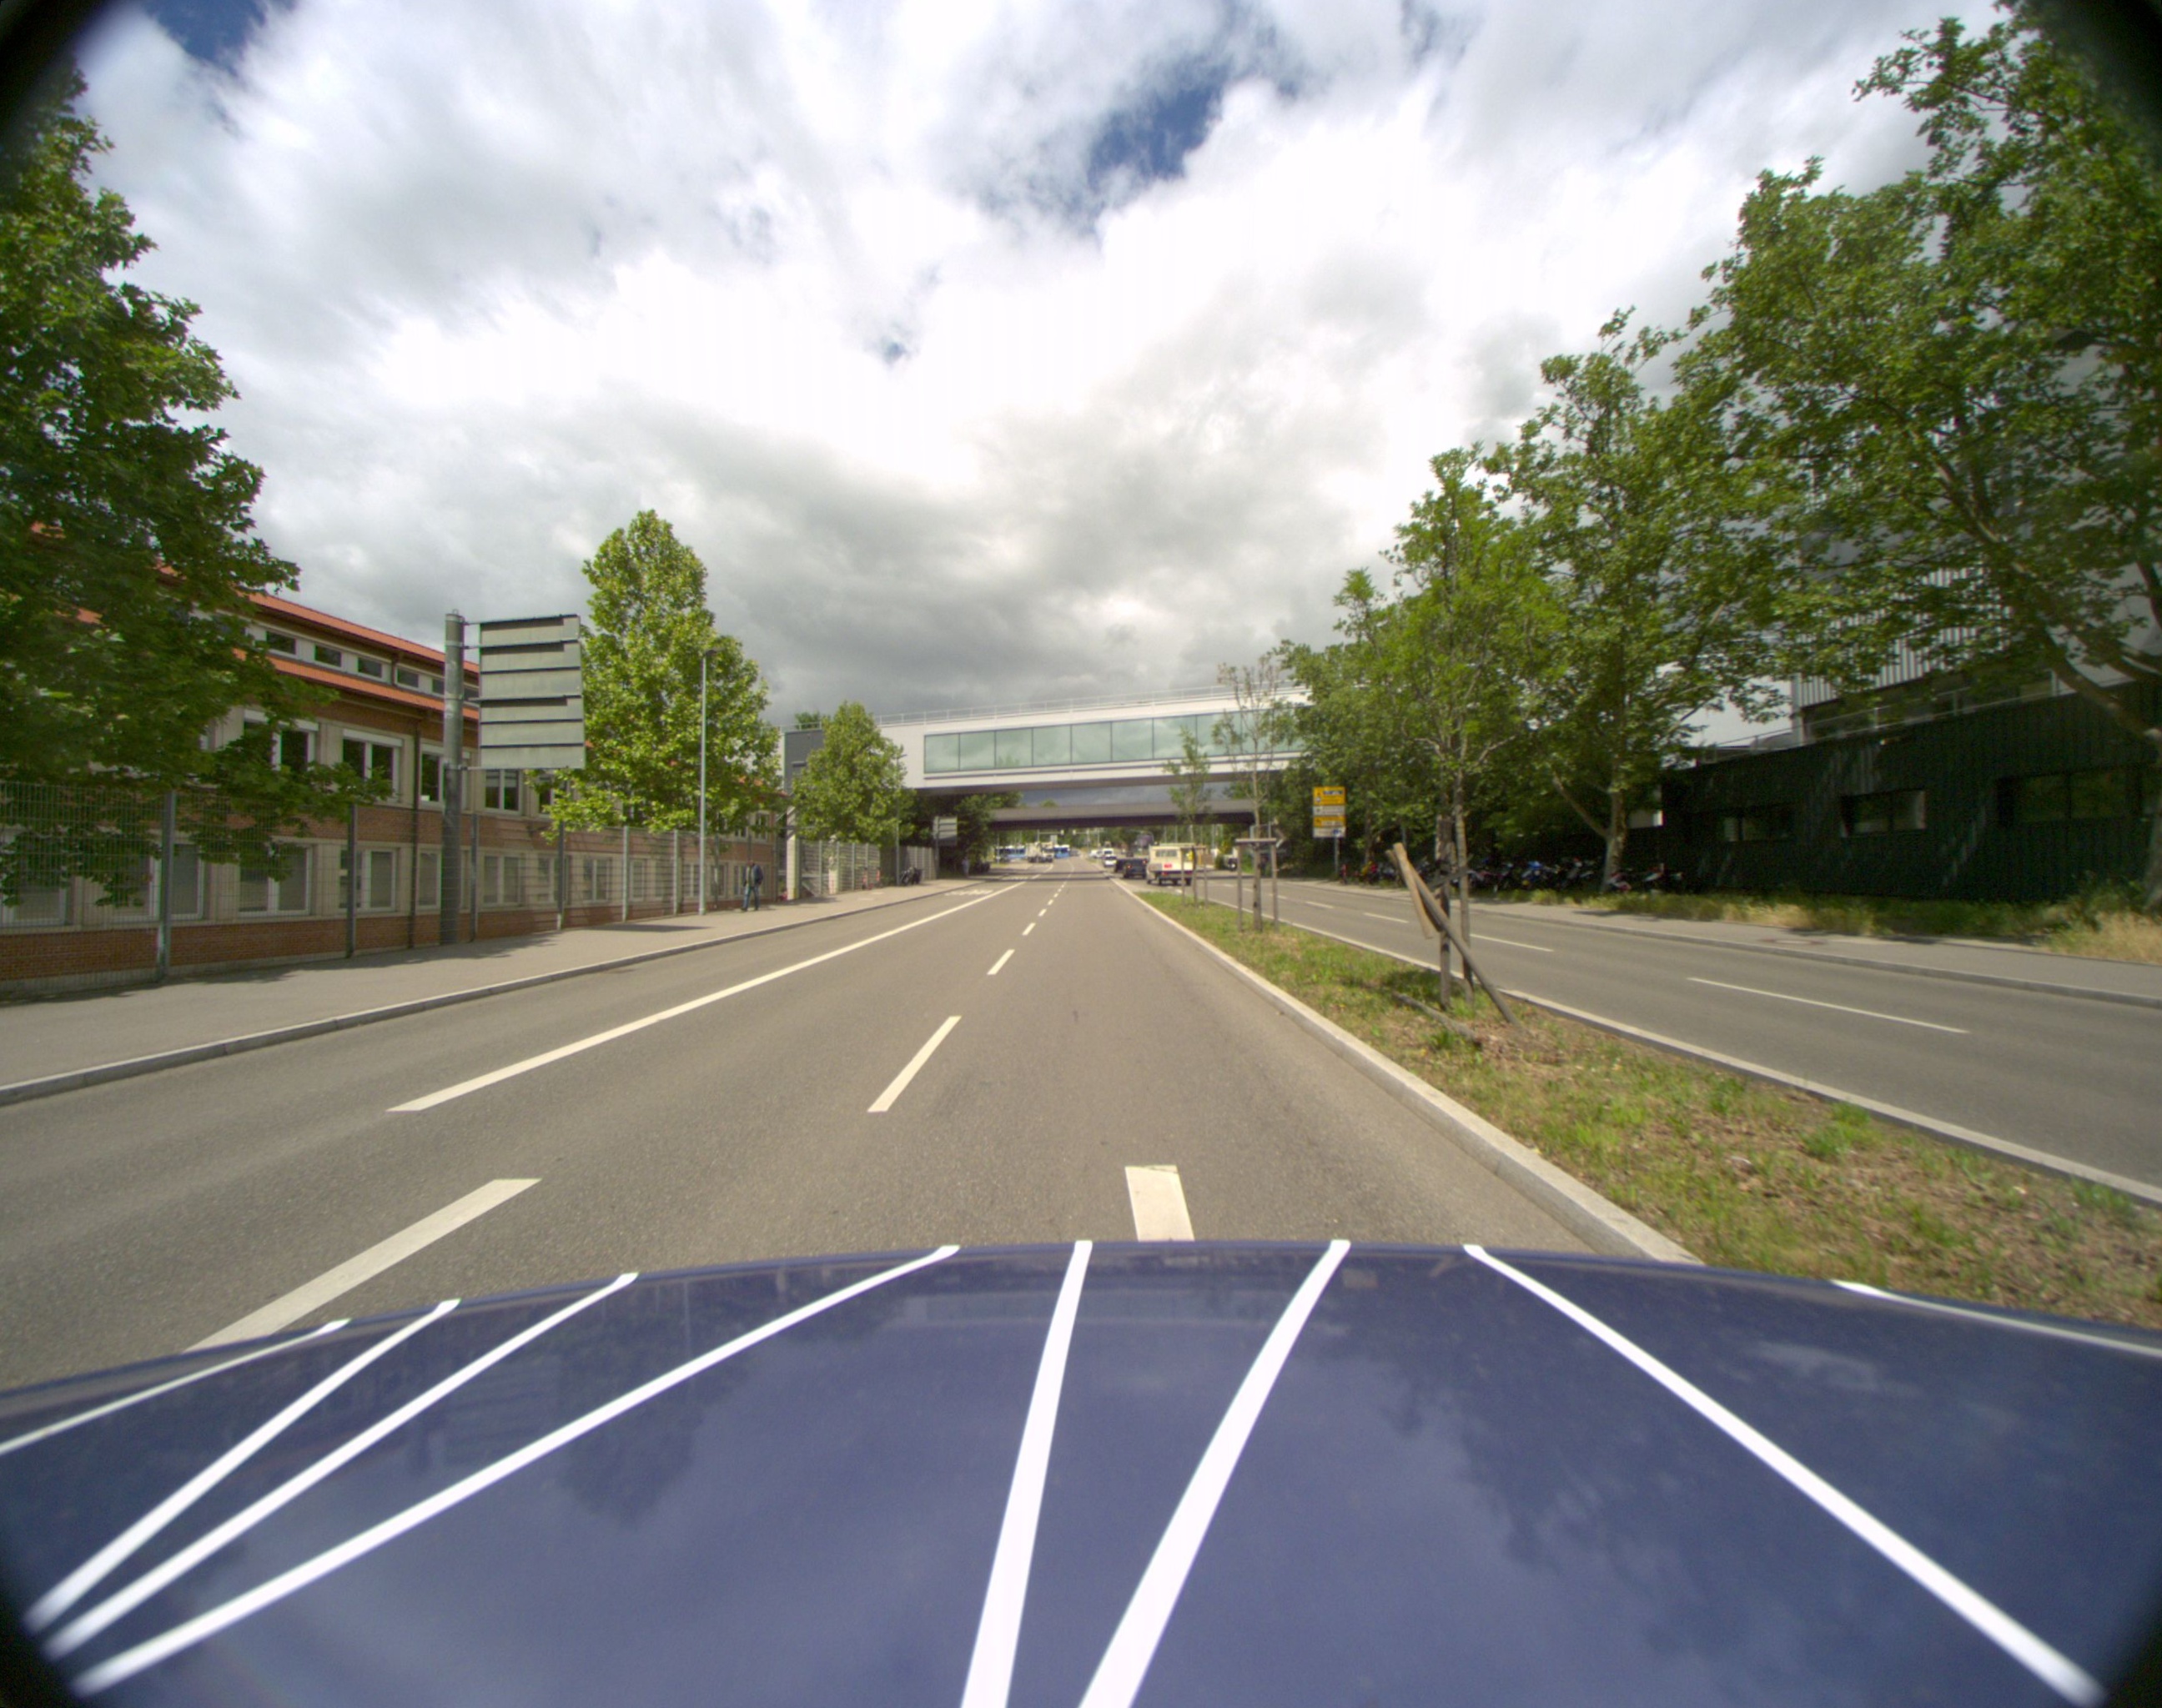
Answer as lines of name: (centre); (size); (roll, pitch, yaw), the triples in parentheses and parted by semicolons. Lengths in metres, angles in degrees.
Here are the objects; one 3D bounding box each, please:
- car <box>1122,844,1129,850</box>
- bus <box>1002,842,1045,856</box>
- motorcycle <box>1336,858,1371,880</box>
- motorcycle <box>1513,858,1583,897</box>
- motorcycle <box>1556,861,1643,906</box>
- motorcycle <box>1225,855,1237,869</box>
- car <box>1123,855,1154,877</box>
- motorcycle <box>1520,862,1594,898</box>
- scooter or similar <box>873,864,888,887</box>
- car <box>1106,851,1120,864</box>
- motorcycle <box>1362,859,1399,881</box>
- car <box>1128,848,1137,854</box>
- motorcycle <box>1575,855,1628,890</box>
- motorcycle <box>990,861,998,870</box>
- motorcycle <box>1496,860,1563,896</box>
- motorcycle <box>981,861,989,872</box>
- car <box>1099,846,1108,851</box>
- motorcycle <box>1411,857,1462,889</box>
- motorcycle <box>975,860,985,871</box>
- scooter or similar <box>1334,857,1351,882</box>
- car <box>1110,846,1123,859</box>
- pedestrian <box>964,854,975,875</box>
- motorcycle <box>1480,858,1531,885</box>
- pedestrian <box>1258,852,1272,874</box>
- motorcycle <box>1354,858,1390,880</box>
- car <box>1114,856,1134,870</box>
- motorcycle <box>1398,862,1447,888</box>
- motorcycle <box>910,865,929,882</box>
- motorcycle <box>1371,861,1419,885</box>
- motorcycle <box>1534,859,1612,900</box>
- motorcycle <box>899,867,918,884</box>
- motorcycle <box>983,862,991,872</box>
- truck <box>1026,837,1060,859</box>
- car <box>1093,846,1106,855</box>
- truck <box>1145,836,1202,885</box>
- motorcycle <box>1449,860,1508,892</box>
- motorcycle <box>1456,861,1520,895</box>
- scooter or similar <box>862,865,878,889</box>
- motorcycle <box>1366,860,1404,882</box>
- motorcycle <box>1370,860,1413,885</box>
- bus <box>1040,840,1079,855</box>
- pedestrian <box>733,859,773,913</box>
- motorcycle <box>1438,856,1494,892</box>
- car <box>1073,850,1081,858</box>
car: (12.597, -2.001, 216.821); (1.998, 1.478, 4.000); (0, 0, 2)
bus: (-13.359, -1.124, 176.942); (9.777, 2.919, 2.652); (-2, 1, 4)
motorcycle: (15.712, 0.865, 43.859); (1.745, 1.164, 0.777); (-3, -1, 9)
motorcycle: (16.050, 0.807, 26.146); (1.882, 1.202, 0.655); (-3, -1, 4)
motorcycle: (14.917, 0.845, 21.917); (1.881, 1.166, 0.746); (-3, -1, 10)
motorcycle: (13.984, 0.765, 70.793); (0.641, 1.191, 2.257); (-3, 1, 0)
car: (4.618, 0.943, 61.422); (1.910, 1.621, 4.291); (-1, 0, -3)
motorcycle: (15.689, 0.860, 25.096); (1.880, 1.078, 0.795); (-3, -1, 16)
scooter or similar: (-11.536, 1.214, 43.644); (0.492, 1.287, 1.336); (0, 0, 0)
car: (4.445, 0.493, 105.847); (1.813, 1.770, 4.977); (-1, 0, 0)
motorcycle: (15.868, 0.851, 40.293); (1.595, 1.116, 0.776); (-3, -1, 2)
car: (12.479, -0.667, 185.400); (1.998, 1.346, 4.000); (0, 0, 2)
motorcycle: (18.972, 0.669, 27.758); (0.654, 1.202, 1.984); (-3, -1, 5)
motorcycle: (-10.195, 1.330, 88.875); (0.679, 1.076, 2.180); (0, 0, -1)
motorcycle: (15.963, 0.846, 27.096); (1.882, 1.172, 0.699); (-3, -1, 4)
motorcycle: (-10.610, 1.381, 84.214); (0.679, 1.136, 2.160); (0, 0, -1)
car: (5.570, -1.323, 186.755); (1.998, 1.346, 4.000); (0, 0, 2)
motorcycle: (15.739, 0.841, 33.740); (1.934, 1.283, 0.894); (-4, -1, 21)
motorcycle: (-10.846, 1.246, 81.765); (0.679, 1.148, 2.113); (0, 0, 1)
scooter or similar: (13.833, 0.810, 40.178); (0.355, 1.229, 1.479); (-2, 1, 0)
car: (6.901, -0.338, 145.980); (2.044, 2.458, 5.575); (-2, 0, 7)
pedestrian: (-10.072, 0.941, 68.812); (0.791, 1.876, 1.097); (0, 0, 0)
motorcycle: (19.342, 0.804, 34.683); (1.933, 1.109, 0.923); (-4, -1, 28)
pedestrian: (14.065, 0.692, 57.998); (0.769, 1.602, 0.813); (-3, 1, 0)
motorcycle: (15.881, 0.844, 41.486); (1.596, 1.116, 0.776); (-3, -1, -8)
car: (4.601, 0.939, 81.898); (1.713, 1.445, 4.479); (-1, 0, -1)
motorcycle: (15.739, 0.958, 35.039); (1.933, 1.109, 0.923); (-4, -1, 28)
motorcycle: (-10.941, 1.335, 51.455); (0.709, 1.058, 2.510); (2, 0, 0)
motorcycle: (15.168, 0.908, 36.749); (1.938, 1.109, 0.920); (1, 1, -11)
motorcycle: (15.456, 0.791, 23.916); (1.881, 1.179, 0.730); (-3, 0, 9)
motorcycle: (-11.054, 1.370, 48.756); (0.670, 1.058, 2.247); (2, 0, 0)
motorcycle: (-10.673, 1.454, 86.613); (0.679, 1.076, 2.038); (0, 0, -1)
truck: (-7.379, -1.150, 145.650); (2.792, 3.981, 10.067); (-2, 0, -24)
car: (4.005, -0.737, 168.107); (1.829, 1.796, 4.250); (-2, 0, -14)
truck: (5.494, 0.353, 46.066); (2.485, 2.734, 6.457); (-1, 0, -1)
motorcycle: (15.597, 0.868, 29.879); (1.880, 1.172, 0.816); (-3, -1, 16)
motorcycle: (15.254, 0.908, 28.517); (1.881, 1.172, 0.816); (-3, -1, 10)
scooter or similar: (-11.550, 1.239, 41.564); (0.492, 1.287, 1.336); (0, 0, 0)
motorcycle: (15.568, 0.878, 38.924); (1.595, 1.027, 0.776); (-3, -1, 2)
motorcycle: (15.420, 0.921, 37.792); (1.752, 1.171, 0.852); (-3, -1, -10)
bus: (-5.022, -1.487, 175.696); (8.522, 2.929, 2.654); (-2, 1, 14)
pedestrian: (-10.802, 1.033, 25.017); (0.879, 1.733, 0.940); (1, 0, 0)
motorcycle: (15.765, 0.821, 31.172); (1.934, 1.336, 0.866); (-4, -1, 21)
car: (-0.970, -0.040, 198.148); (1.998, 2.002, 4.000); (-2, 0, 0)
